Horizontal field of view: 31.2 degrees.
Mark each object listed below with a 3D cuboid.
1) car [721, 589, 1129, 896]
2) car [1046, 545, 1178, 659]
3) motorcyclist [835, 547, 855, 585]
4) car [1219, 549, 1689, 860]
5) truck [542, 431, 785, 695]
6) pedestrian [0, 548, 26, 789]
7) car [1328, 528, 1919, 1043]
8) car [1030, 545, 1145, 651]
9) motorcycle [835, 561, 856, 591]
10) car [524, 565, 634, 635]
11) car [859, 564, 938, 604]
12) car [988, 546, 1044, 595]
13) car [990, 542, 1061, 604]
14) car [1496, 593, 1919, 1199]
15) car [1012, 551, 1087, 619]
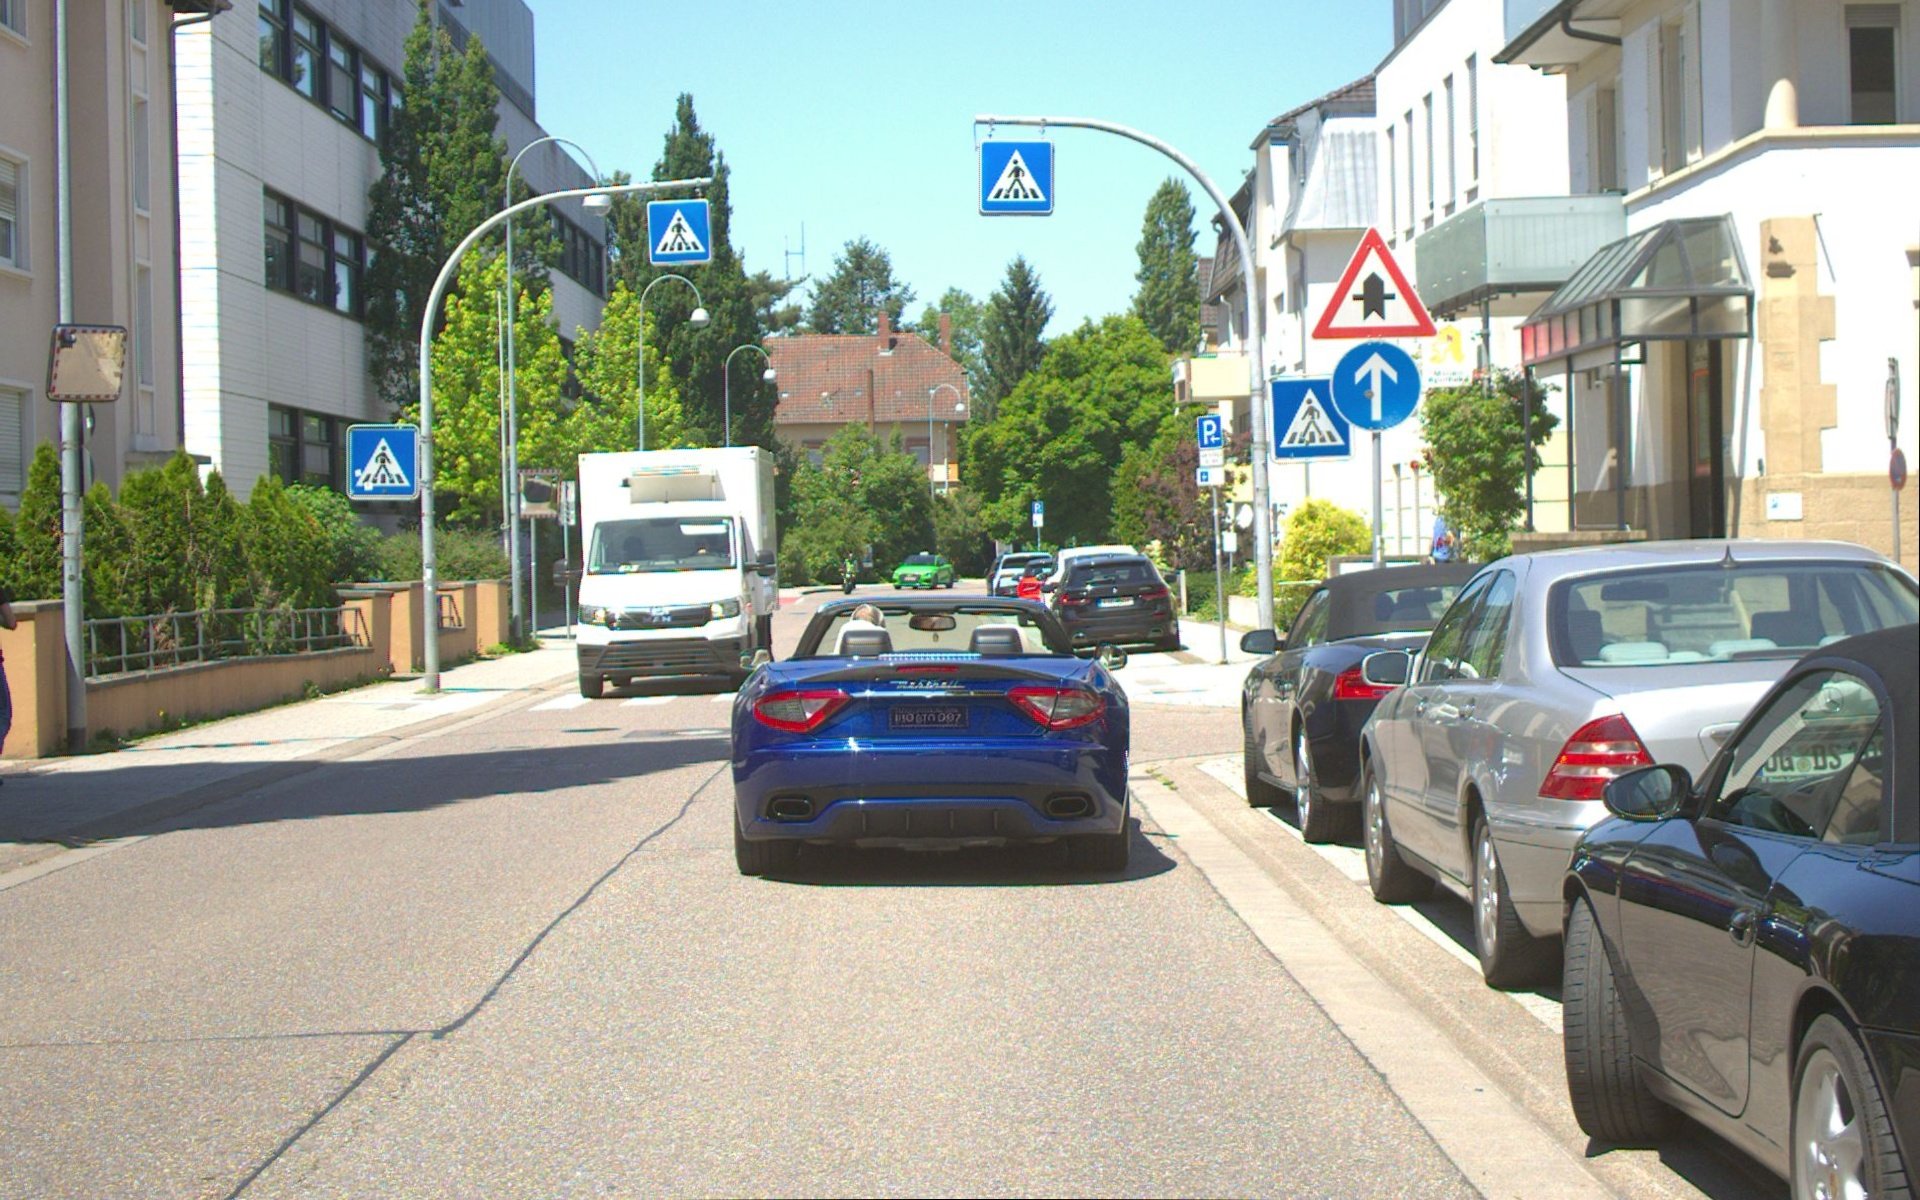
[{"bbox_3d":[-0.171,0.634,17.795,1.826,1.332,4.700,0,1,0],"label":"car"},{"bbox_3d":[2.271,-0.006,52.340,1.705,1.551,4.748,-3,1,0],"label":"car"},{"bbox_3d":[-4.396,-1.305,131.362,0.699,1.428,0.707,-3,1,1],"label":"motorcyclist"},{"bbox_3d":[2.562,0.480,18.953,1.826,1.422,4.700,-3,1,0],"label":"car"},{"bbox_3d":[-3.565,-0.471,42.614,2.420,2.973,6.258,-1,1,0],"label":"truck"},{"bbox_3d":[-6.966,0.475,24.271,0.536,1.679,0.708,-1,0,0],"label":"pedestrian"},{"bbox_3d":[2.555,0.522,12.763,1.743,1.463,4.852,-3,1,0],"label":"car"},{"bbox_3d":[2.133,-0.069,58.489,1.705,1.660,4.580,-3,1,0],"label":"car"},{"bbox_3d":[-4.380,-0.939,131.521,0.699,1.103,1.790,-3,1,0],"label":"motorcycle"},{"bbox_3d":[-8.008,-0.028,72.585,1.822,1.406,4.577,0,1,0],"label":"car"},{"bbox_3d":[-2.597,-0.687,144.731,1.822,1.583,4.101,3,0,-23],"label":"car"},{"bbox_3d":[1.791,-0.960,111.534,1.631,1.441,4.398,-4,1,0],"label":"car"},{"bbox_3d":[1.817,-0.785,96.880,1.843,1.614,4.427,-3,1,0],"label":"car"},{"bbox_3d":[2.288,0.687,7.251,1.557,1.336,4.174,-2,1,-1],"label":"car"},{"bbox_3d":[2.056,-0.364,79.931,1.603,1.436,3.853,-4,1,1],"label":"car"}]
